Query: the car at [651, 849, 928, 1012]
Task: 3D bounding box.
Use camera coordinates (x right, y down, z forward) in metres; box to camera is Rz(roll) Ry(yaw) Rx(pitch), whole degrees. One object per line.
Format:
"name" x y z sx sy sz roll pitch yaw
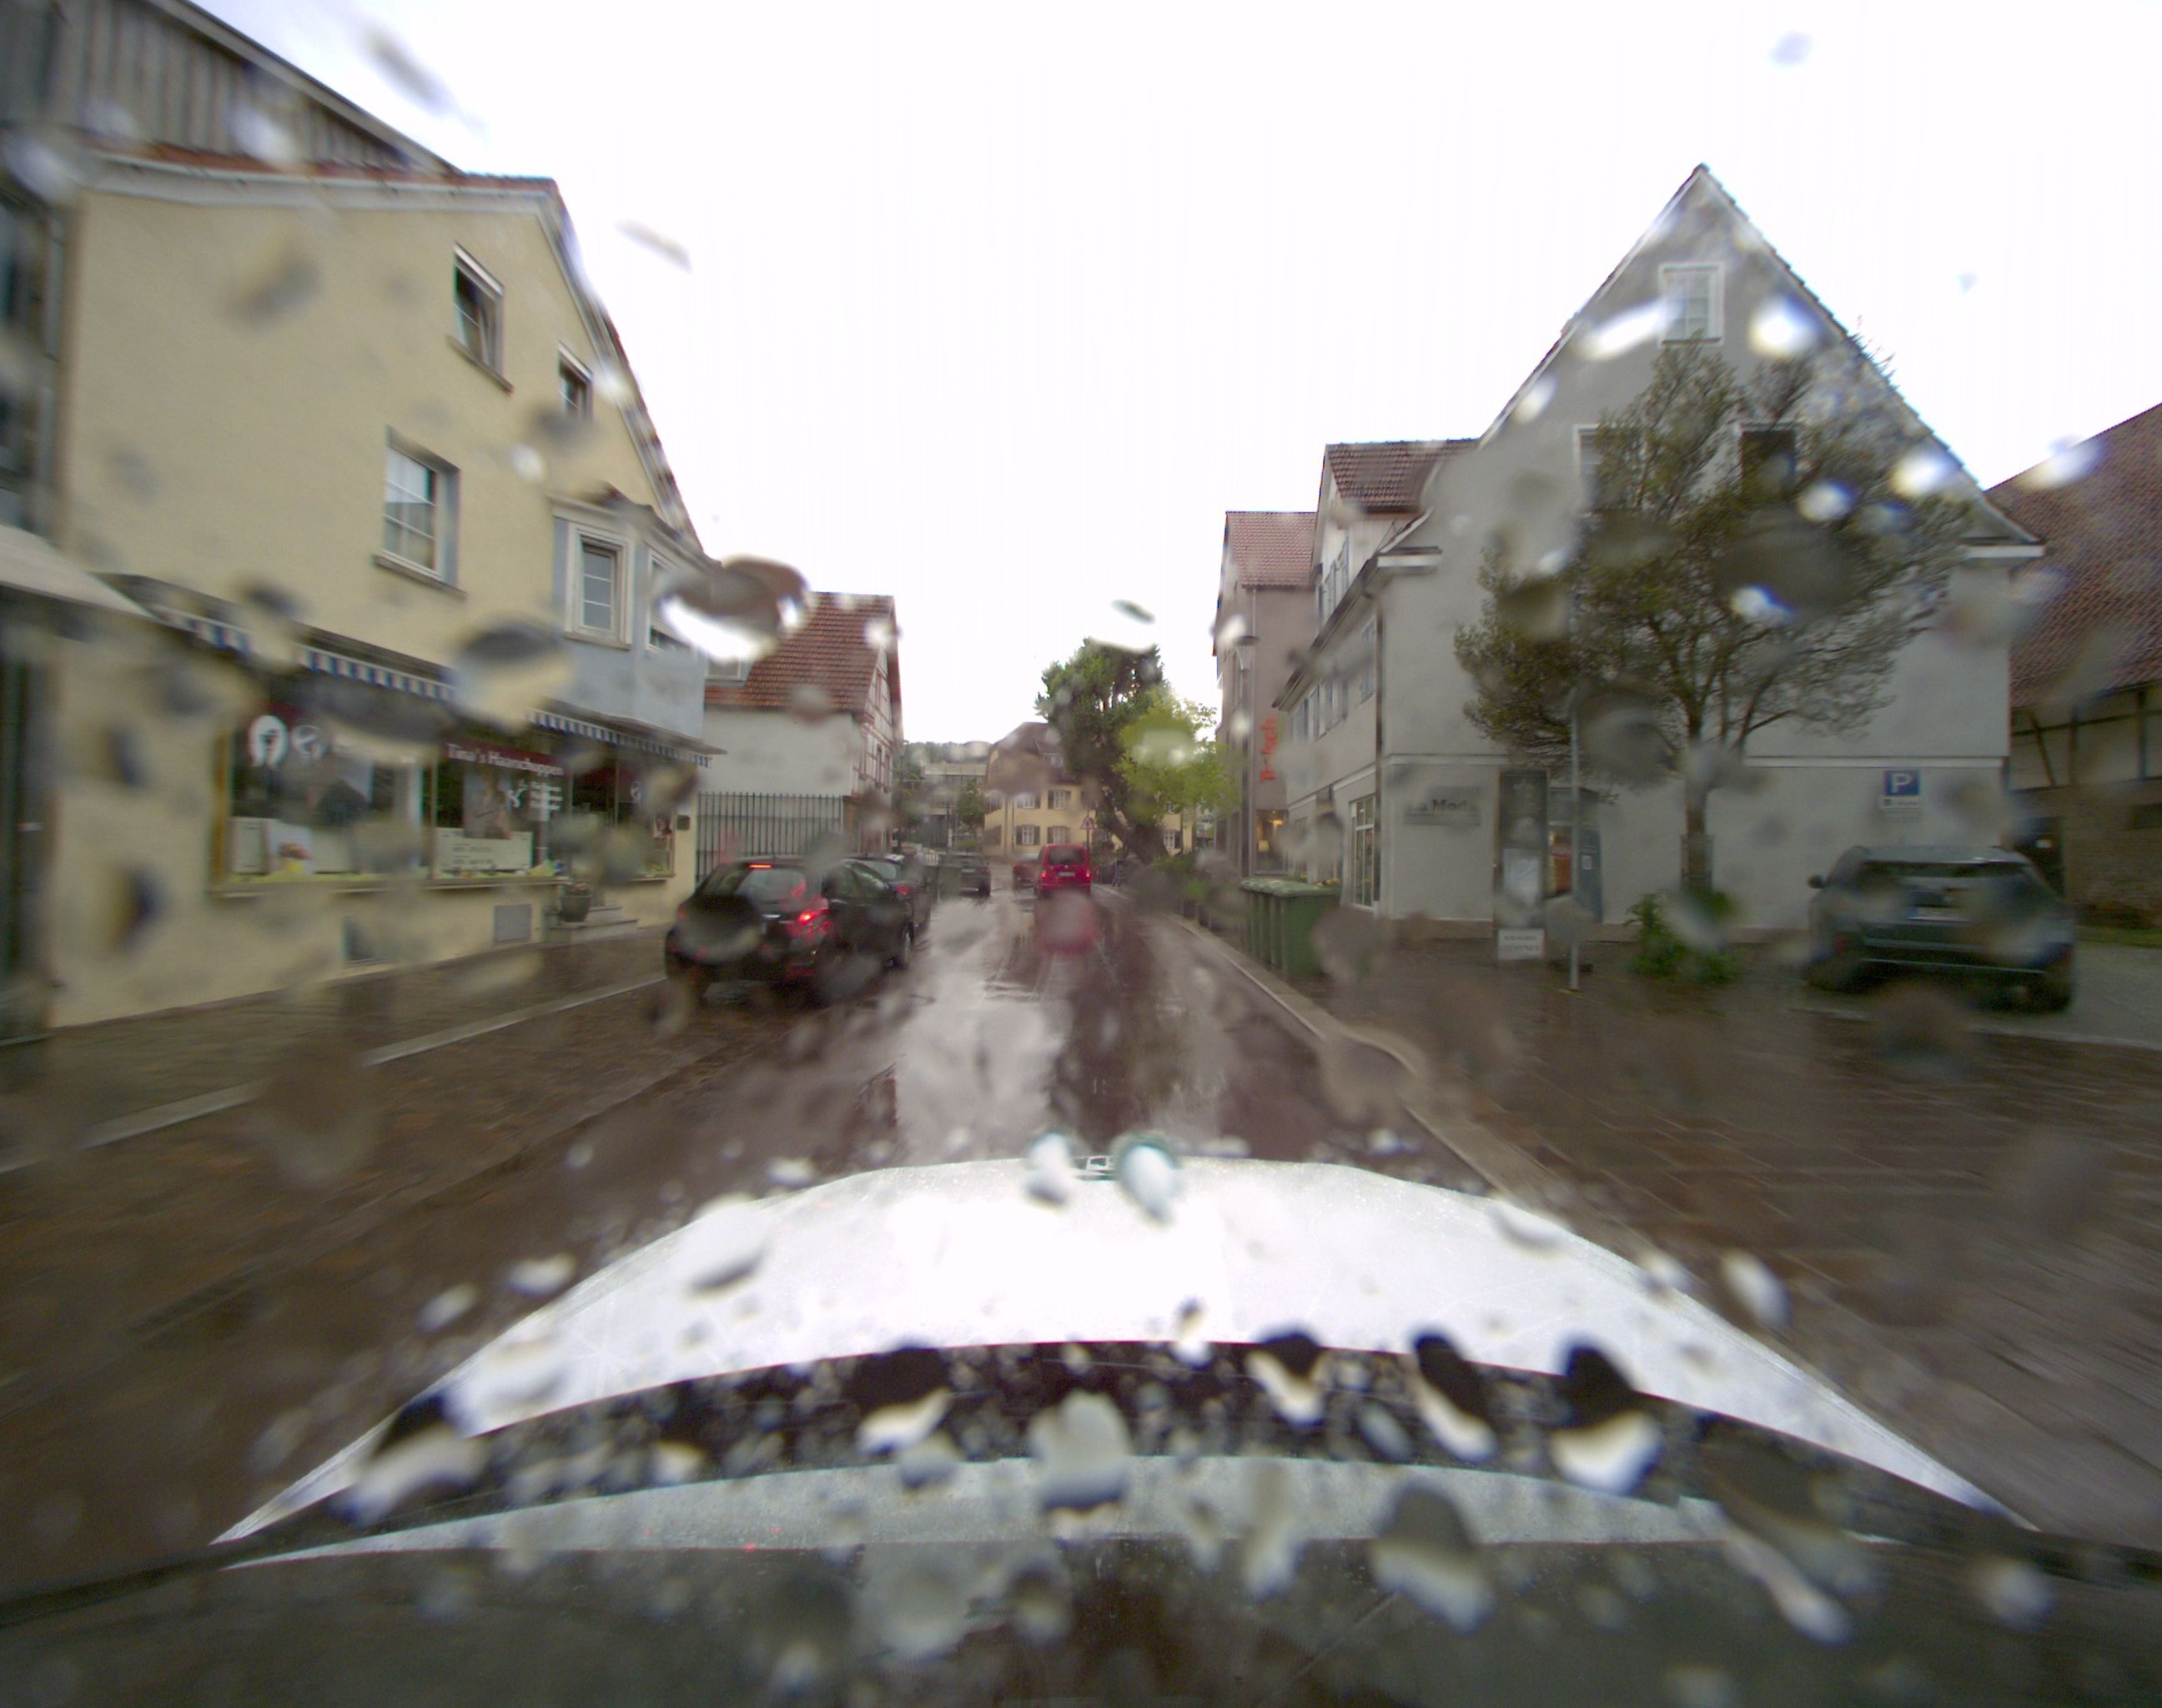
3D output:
"car" -3.121 0.712 9.632 1.685 1.443 3.887 2 1 3

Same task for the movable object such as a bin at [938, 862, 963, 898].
"movable object such as a bin" -4.138 0.819 25.904 0.725 1.110 0.595 2 -2 -6

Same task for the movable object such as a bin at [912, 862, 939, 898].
"movable object such as a bin" -4.913 0.819 25.749 0.725 1.110 0.595 2 -2 -6

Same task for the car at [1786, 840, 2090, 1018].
"car" 9.691 0.658 9.619 1.864 1.599 4.419 1 1 38

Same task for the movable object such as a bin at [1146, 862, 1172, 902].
"movable object such as a bin" 2.336 0.829 24.374 0.630 1.150 0.578 2 -2 -6

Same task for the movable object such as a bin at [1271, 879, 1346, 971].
"movable object such as a bin" 2.802 0.861 10.070 0.765 1.079 0.599 2 -2 2

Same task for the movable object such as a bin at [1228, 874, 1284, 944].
"movable object such as a bin" 2.806 0.869 13.084 0.751 1.090 0.656 0 0 -1

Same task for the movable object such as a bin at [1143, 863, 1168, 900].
"movable object such as a bin" 2.270 0.837 24.955 0.630 1.104 0.578 2 -2 -6

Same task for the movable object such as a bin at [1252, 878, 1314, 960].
"movable object such as a bin" 2.794 0.886 11.287 0.726 1.091 0.521 2 -2 2

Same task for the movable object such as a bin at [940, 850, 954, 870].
"movable object such as a bin" -7.435 0.336 45.312 0.714 1.106 0.598 2 -2 -8

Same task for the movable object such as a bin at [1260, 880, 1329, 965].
"movable object such as a bin" 2.795 0.882 10.707 0.751 1.064 0.600 2 -2 2

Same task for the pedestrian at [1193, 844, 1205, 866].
"pedestrian" 9.966 0.078 68.685 0.895 1.842 0.766 2 -2 0

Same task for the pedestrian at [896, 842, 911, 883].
"pedestrian" -7.525 0.370 34.563 0.517 1.711 0.577 2 -2 -5

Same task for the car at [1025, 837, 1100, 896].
"car" -0.725 0.383 28.280 1.895 1.811 3.985 2 1 -11

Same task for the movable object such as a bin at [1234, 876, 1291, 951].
"movable object such as a bin" 2.768 0.893 12.489 0.733 1.098 0.611 1 -2 1

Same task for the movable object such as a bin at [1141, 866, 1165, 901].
"movable object such as a bin" 2.294 0.939 25.999 0.675 1.103 0.579 2 -2 -2

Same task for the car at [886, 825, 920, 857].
"car" -16.282 -1.106 74.290 2.305 2.602 6.916 2 -1 -18

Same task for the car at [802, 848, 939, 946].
"car" -3.698 0.677 14.971 1.753 1.473 3.937 2 1 -5

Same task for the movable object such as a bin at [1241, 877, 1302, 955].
"movable object such as a bin" 2.764 0.888 11.870 0.733 1.098 0.611 1 -2 0

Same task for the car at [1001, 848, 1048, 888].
"car" -2.803 0.694 39.721 1.992 1.799 3.989 2 -1 -7

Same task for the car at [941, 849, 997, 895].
"car" -4.196 0.606 30.086 1.789 1.495 3.985 2 0 -11

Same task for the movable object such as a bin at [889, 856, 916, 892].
"movable object such as a bin" -5.631 0.641 25.720 0.725 1.110 0.595 2 -2 -6

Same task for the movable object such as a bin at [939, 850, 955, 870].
"movable object such as a bin" -7.570 0.347 45.998 0.794 1.106 0.720 2 -2 -8

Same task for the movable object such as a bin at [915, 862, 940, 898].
"movable object such as a bin" -4.962 0.838 26.377 0.725 1.110 0.595 2 -2 -6

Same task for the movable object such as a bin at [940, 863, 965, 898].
"movable object such as a bin" -4.196 0.856 26.539 0.725 1.110 0.643 2 -2 -6

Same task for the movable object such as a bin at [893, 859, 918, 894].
"movable object such as a bin" -5.667 0.724 26.341 0.659 1.110 0.614 2 -2 -6
